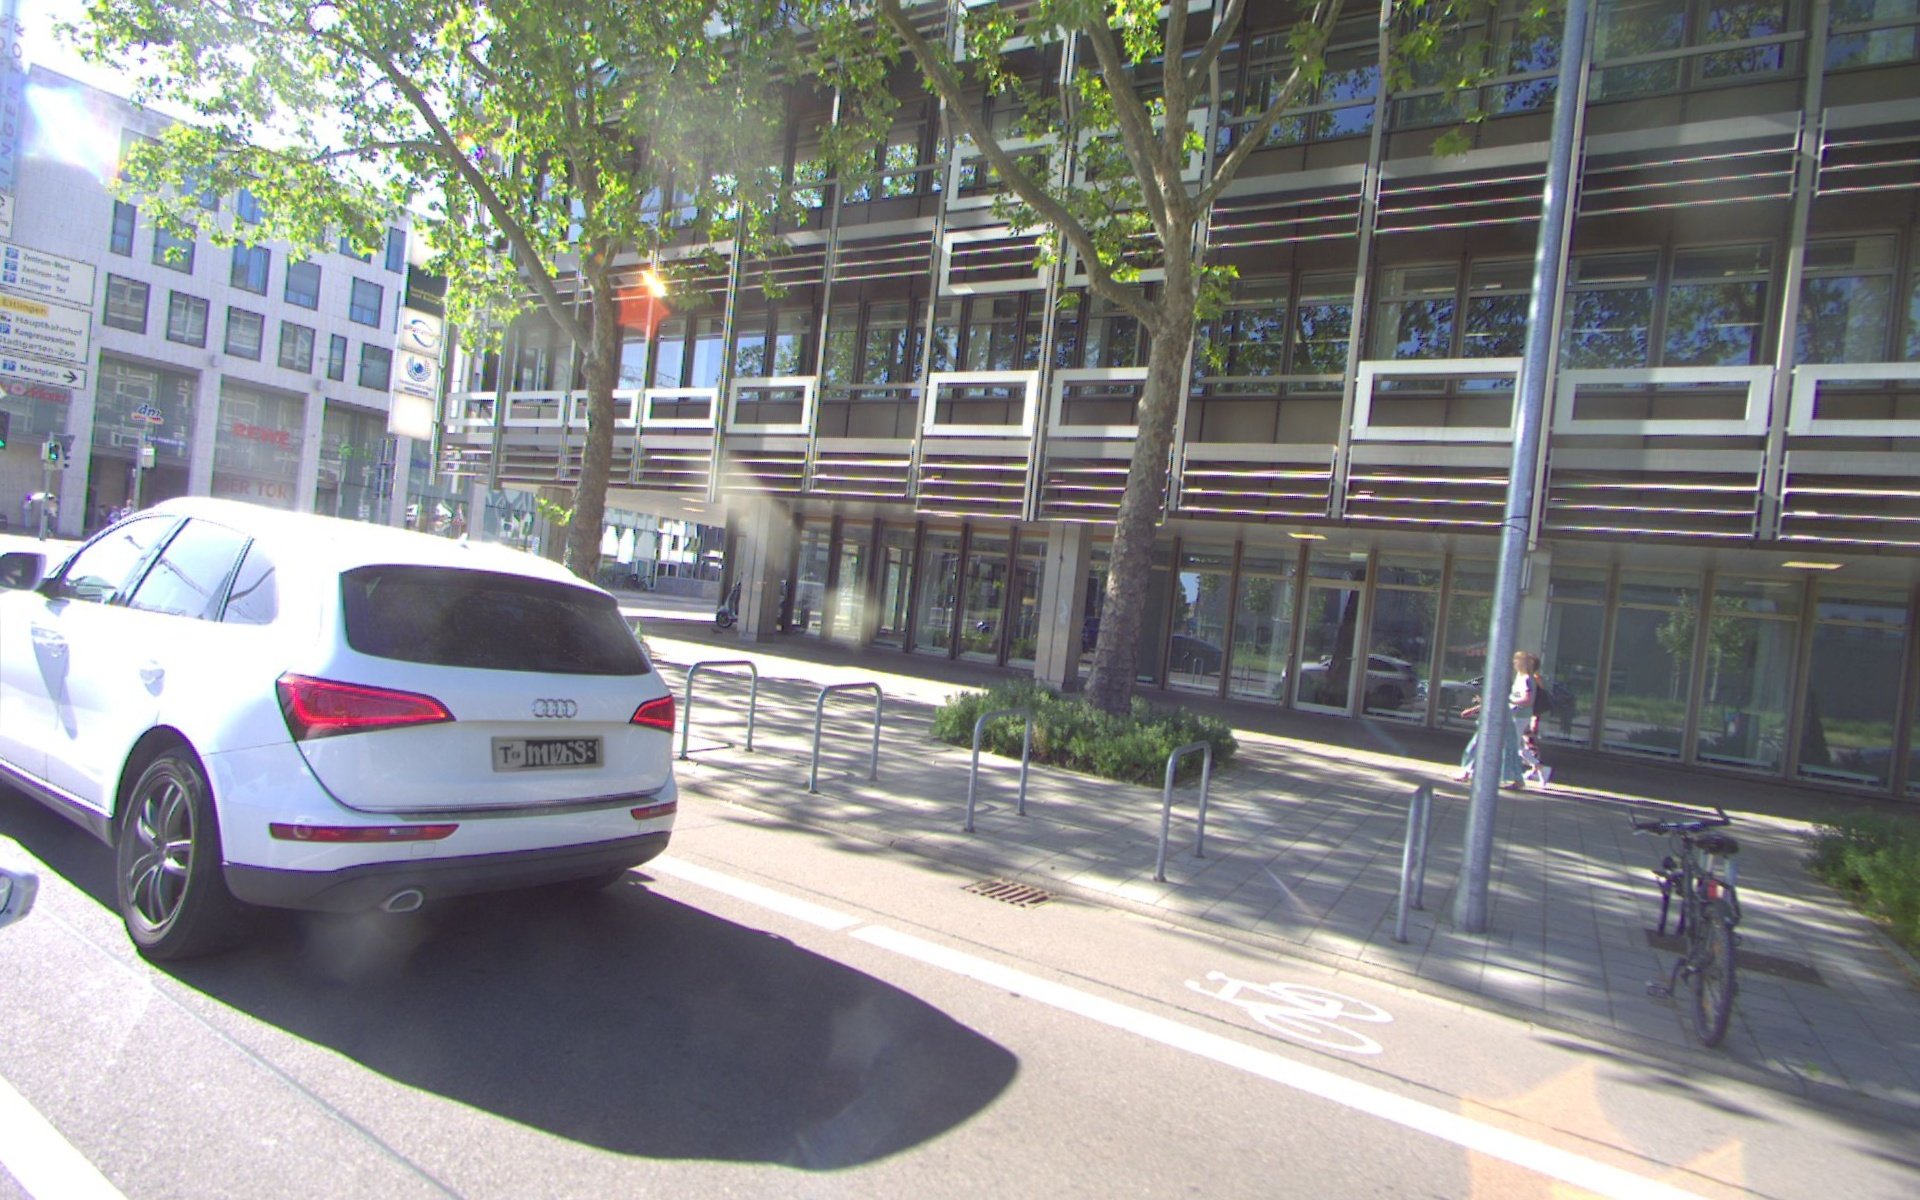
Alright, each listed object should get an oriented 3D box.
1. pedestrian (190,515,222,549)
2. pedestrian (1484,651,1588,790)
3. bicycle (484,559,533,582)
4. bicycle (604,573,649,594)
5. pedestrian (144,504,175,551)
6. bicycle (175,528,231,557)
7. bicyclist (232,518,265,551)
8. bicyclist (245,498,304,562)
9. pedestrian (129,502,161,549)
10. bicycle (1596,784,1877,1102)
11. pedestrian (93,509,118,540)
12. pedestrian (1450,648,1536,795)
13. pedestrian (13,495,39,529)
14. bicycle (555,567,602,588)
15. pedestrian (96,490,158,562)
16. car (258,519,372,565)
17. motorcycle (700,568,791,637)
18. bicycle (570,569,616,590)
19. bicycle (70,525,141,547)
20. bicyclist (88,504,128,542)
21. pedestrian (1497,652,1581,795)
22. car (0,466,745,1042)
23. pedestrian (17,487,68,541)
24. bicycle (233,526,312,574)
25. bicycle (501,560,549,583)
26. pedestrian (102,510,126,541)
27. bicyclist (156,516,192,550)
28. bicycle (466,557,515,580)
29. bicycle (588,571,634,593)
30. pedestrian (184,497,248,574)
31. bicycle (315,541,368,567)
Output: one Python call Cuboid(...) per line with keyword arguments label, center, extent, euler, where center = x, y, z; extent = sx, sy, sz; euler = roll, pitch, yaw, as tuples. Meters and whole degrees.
Cuboid(label="pedestrian", center=(-40.756, -3.664, 54.379), extent=(0.846, 1.705, 0.978), euler=(7, 1, 29))
Cuboid(label="pedestrian", center=(7.509, 1.541, 13.128), extent=(0.992, 1.622, 0.666), euler=(7, 3, 32))
Cuboid(label="bicycle", center=(-28.773, -1.876, 64.070), extent=(3.441, 1.107, 1.067), euler=(6, 0, 34))
Cuboid(label="bicycle", center=(-23.749, -1.187, 71.692), extent=(3.441, 1.107, 1.067), euler=(6, 0, 34))
Cuboid(label="pedestrian", center=(-28.978, -2.616, 36.417), extent=(0.517, 1.634, 0.661), euler=(6, 2, 22))
Cuboid(label="bicycle", center=(-38.058, -2.901, 50.577), extent=(3.440, 1.107, 1.067), euler=(6, 0, 33))
Cuboid(label="bicyclist", center=(-34.884, -3.202, 49.296), extent=(1.024, 1.451, 0.933), euler=(7, 1, 35))
Cuboid(label="bicyclist", center=(-17.705, -1.795, 25.990), extent=(0.869, 1.495, 0.882), euler=(7, 1, 31))
Cuboid(label="pedestrian", center=(-29.606, -2.698, 36.542), extent=(0.517, 1.634, 0.661), euler=(6, 2, 22))
Cuboid(label="bicycle", center=(3.861, 1.617, 5.186), extent=(0.699, 0.973, 1.846), euler=(7, 2, 26))
Cuboid(label="pedestrian", center=(-48.074, -4.245, 56.608), extent=(0.737, 1.628, 0.556), euler=(7, 1, -5))
Cuboid(label="pedestrian", center=(6.411, 1.427, 12.096), extent=(0.716, 1.622, 0.666), euler=(7, 3, 32))
Cuboid(label="pedestrian", center=(-48.109, -4.525, 51.801), extent=(0.547, 1.628, 0.748), euler=(8, 1, 30))
Cuboid(label="bicycle", center=(-25.966, -1.537, 68.429), extent=(3.441, 1.107, 1.067), euler=(6, 0, 34))
Cuboid(label="pedestrian", center=(-26.115, -2.312, 31.557), extent=(1.059, 2.039, 0.949), euler=(7, 1, 20))
Cuboid(label="car", center=(-30.964, -2.760, 48.414), extent=(1.831, 1.632, 4.188), euler=(5, -1, 33))
Cuboid(label="motorcycle", center=(-5.317, 0.059, 24.874), extent=(2.087, 1.459, 0.824), euler=(6, 0, 32))
Cuboid(label="bicycle", center=(-25.336, -1.428, 69.416), extent=(3.441, 1.107, 1.067), euler=(6, 0, 34))
Cuboid(label="bicycle", center=(-37.965, -2.843, 44.723), extent=(1.055, 0.679, 2.194), euler=(6, 0, 34))
Cuboid(label="bicyclist", center=(-37.891, -3.416, 44.753), extent=(1.055, 1.494, 1.022), euler=(7, 0, 35))
Cuboid(label="pedestrian", center=(7.171, 1.497, 12.453), extent=(0.716, 1.622, 0.666), euler=(7, 3, 32))
Cuboid(label="car", center=(-3.350, 0.351, 4.890), extent=(4.340, 1.633, 1.822), euler=(7, 0, 32))
Cuboid(label="pedestrian", center=(-34.355, -3.219, 37.684), extent=(1.497, 1.825, 0.967), euler=(6, 2, 31))
Cuboid(label="bicycle", center=(-17.768, -1.305, 25.993), extent=(2.017, 0.997, 0.882), euler=(7, 0, 31))
Cuboid(label="bicycle", center=(-28.137, -1.831, 65.042), extent=(3.441, 1.107, 1.067), euler=(6, 0, 34))
Cuboid(label="pedestrian", center=(-48.147, -4.226, 57.265), extent=(0.737, 1.628, 0.556), euler=(7, 1, -6))
Cuboid(label="bicyclist", center=(-36.545, -3.126, 46.767), extent=(1.059, 1.413, 0.933), euler=(7, 0, 35))
Cuboid(label="bicycle", center=(-29.499, -1.994, 63.142), extent=(3.441, 1.107, 1.067), euler=(6, 0, 34))
Cuboid(label="bicycle", center=(-24.362, -1.256, 70.162), extent=(3.441, 1.107, 1.067), euler=(6, 0, 34))
Cuboid(label="pedestrian", center=(-21.624, -1.868, 29.247), extent=(1.060, 2.038, 0.949), euler=(7, 0, 24))
Cuboid(label="bicycle", center=(-34.224, -2.567, 55.662), extent=(3.441, 1.107, 1.067), euler=(6, 0, 34))
